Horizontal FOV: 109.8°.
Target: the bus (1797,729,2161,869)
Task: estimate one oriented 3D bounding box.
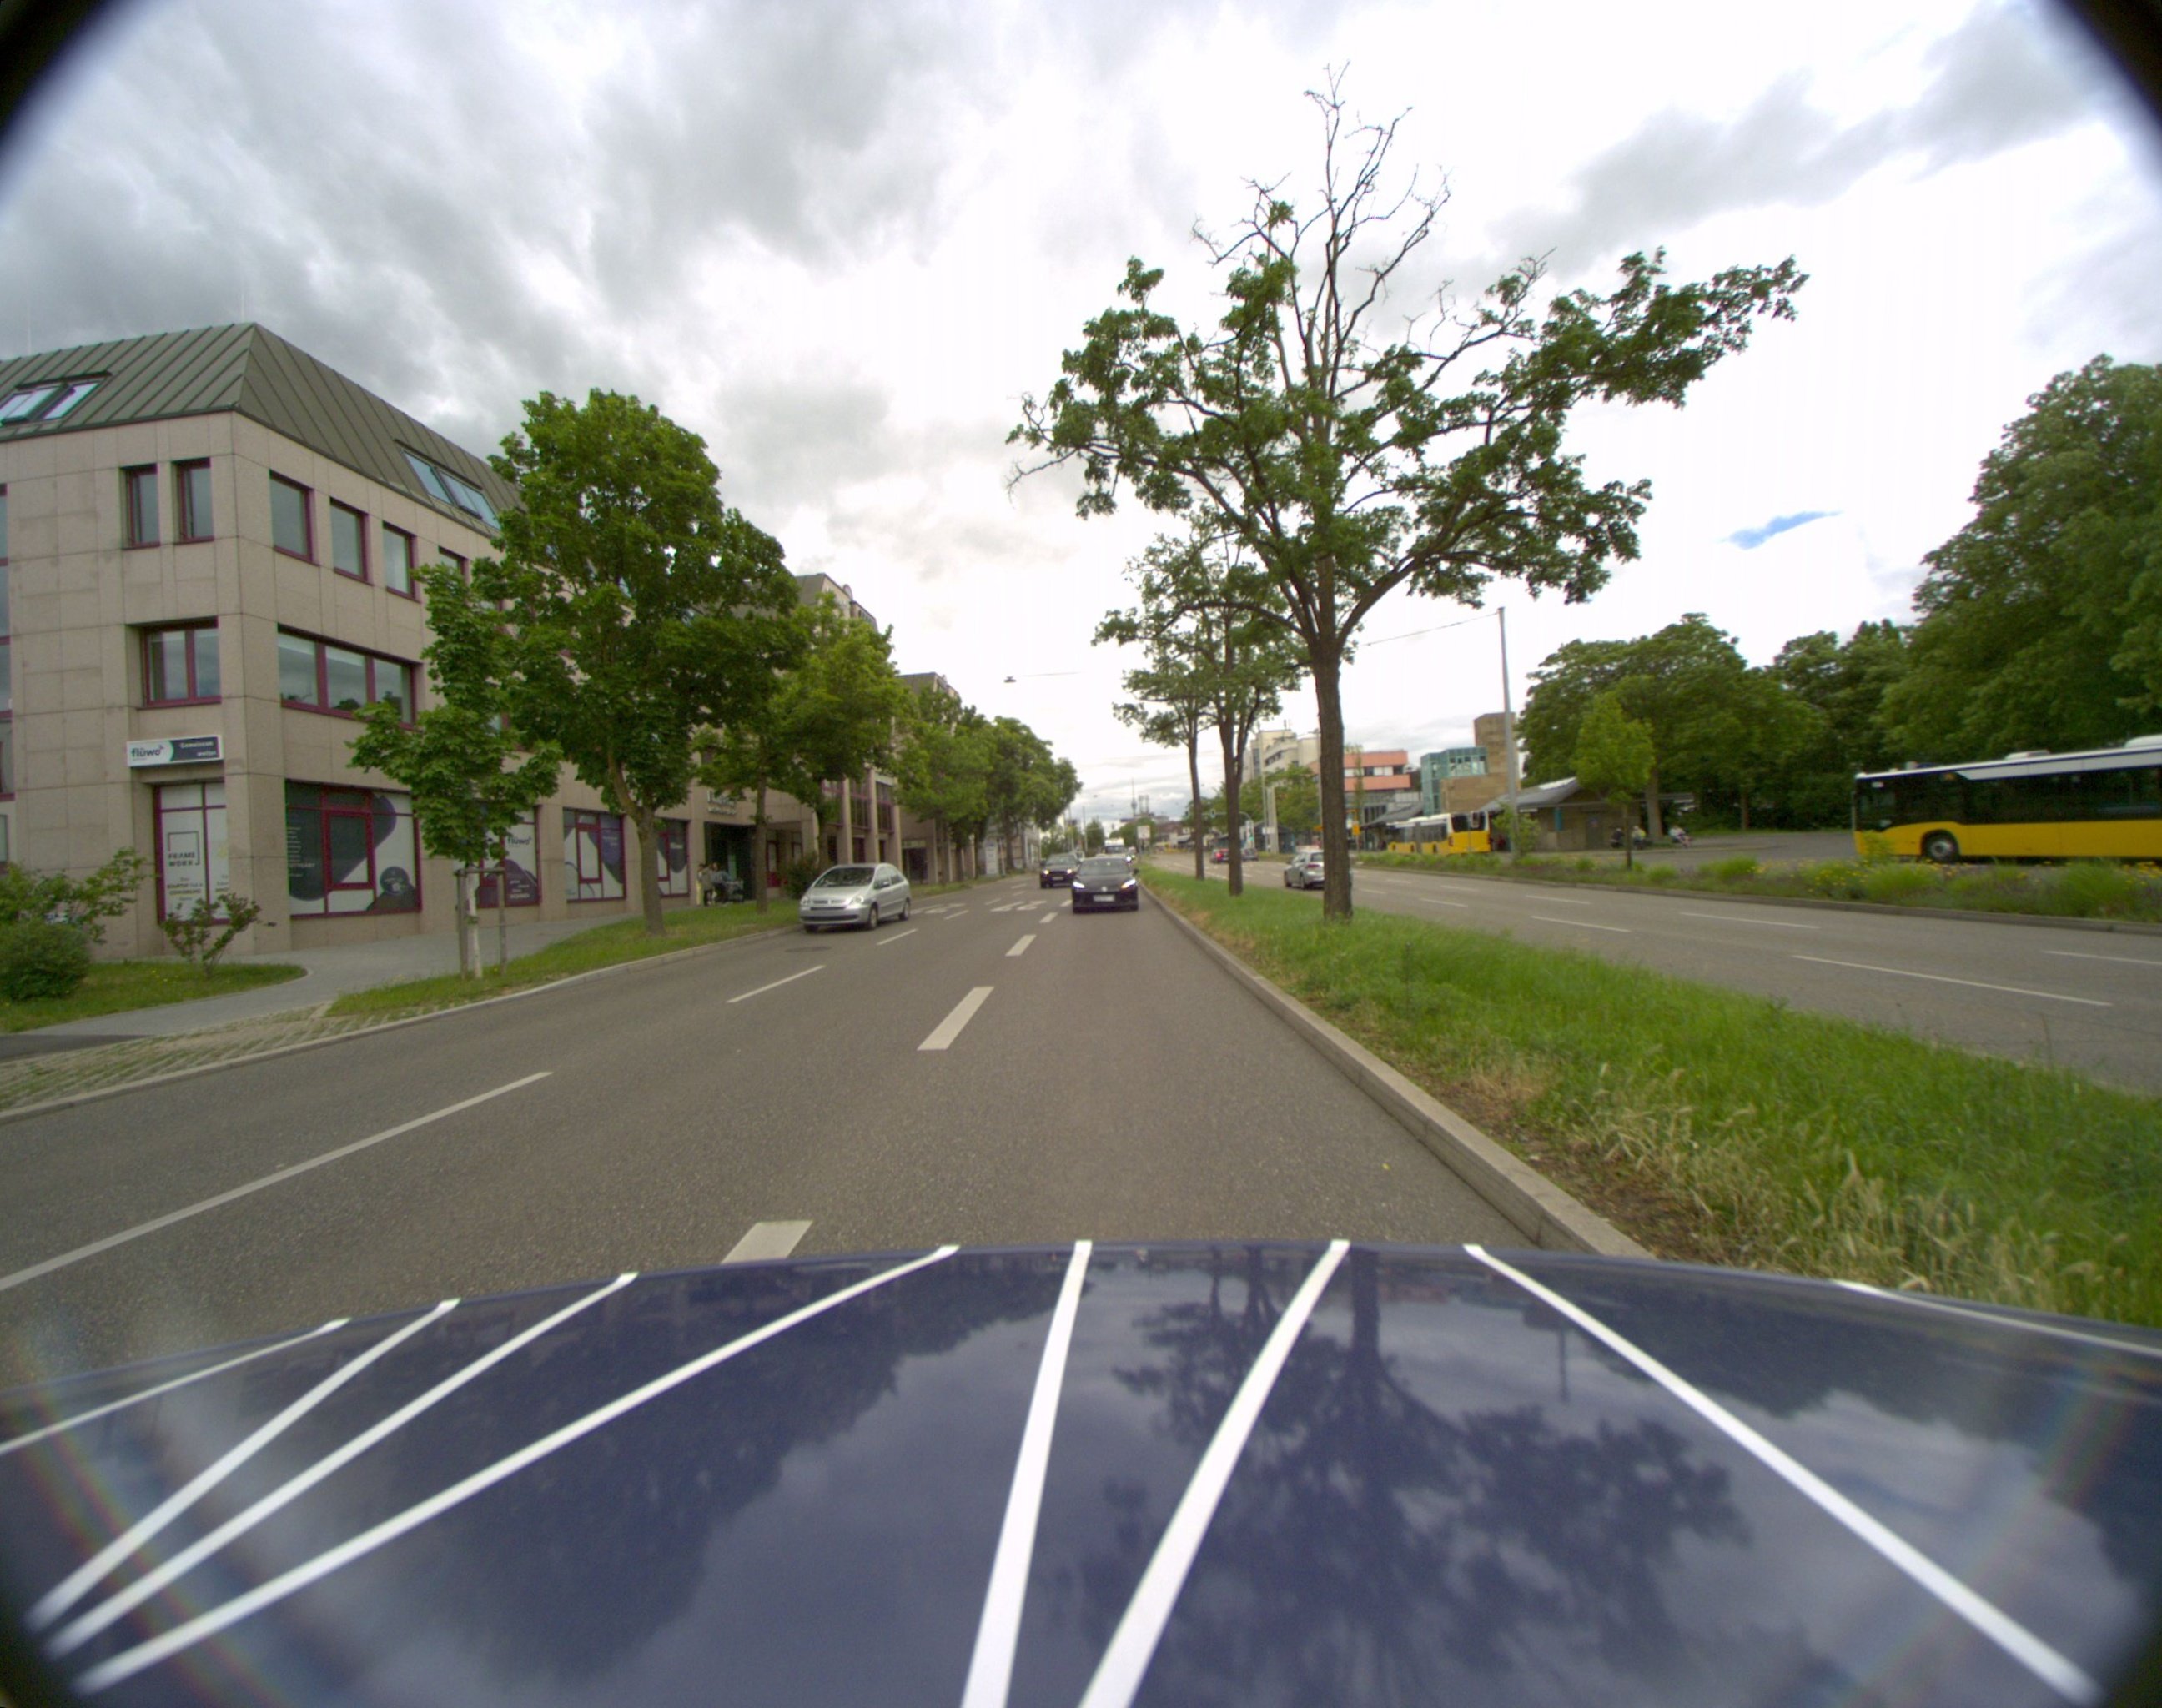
[{"bbox_3d":[26.168,-1.398,21.028,3.090,3.144,10.741,-6,0,5],"label":"bus"}]

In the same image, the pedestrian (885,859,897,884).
[{"bbox_3d":[-11.693,1.088,46.817,0.562,1.541,0.544,-1,1,6],"label":"pedestrian"}]

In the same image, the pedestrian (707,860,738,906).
[{"bbox_3d":[-13.115,1.040,27.831,0.556,1.643,0.962,-1,1,7],"label":"pedestrian"}]

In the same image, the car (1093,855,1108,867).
[{"bbox_3d":[2.716,0.973,105.905,1.895,1.531,4.048,-2,0,3],"label":"car"}]

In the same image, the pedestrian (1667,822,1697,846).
[{"bbox_3d":[31.941,-1.059,40.370,0.895,1.247,0.858,-3,1,3],"label":"pedestrian"}]

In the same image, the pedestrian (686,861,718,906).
[{"bbox_3d":[-14.735,1.139,29.588,0.596,1.695,0.970,-3,1,6],"label":"pedestrian"}]

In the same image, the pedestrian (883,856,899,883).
[{"bbox_3d":[-12.152,0.998,48.607,0.659,1.681,0.843,-1,1,6],"label":"pedestrian"}]

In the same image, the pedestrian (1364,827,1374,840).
[{"bbox_3d":[34.337,-2.444,90.477,0.990,1.452,0.592,-3,1,18],"label":"pedestrian"}]

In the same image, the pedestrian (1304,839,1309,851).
[{"bbox_3d":[31.709,-1.269,106.706,0.529,1.539,0.754,-3,1,18],"label":"pedestrian"}]

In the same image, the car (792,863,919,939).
[{"bbox_3d":[-5.597,1.097,19.440,1.763,1.625,4.156,-2,0,3],"label":"car"}]

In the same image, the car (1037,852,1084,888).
[{"bbox_3d":[-0.975,0.802,39.934,2.150,1.630,5.095,-4,0,1],"label":"car"}]

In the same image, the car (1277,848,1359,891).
[{"bbox_3d":[8.738,0.552,28.404,1.757,1.436,4.134,-1,0,0],"label":"car"}]

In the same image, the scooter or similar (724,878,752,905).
[{"bbox_3d":[-12.968,1.414,28.737,0.585,0.988,0.847,-1,1,7],"label":"scooter or similar"}]

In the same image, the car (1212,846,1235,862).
[{"bbox_3d":[14.747,-0.028,78.758,1.662,1.499,3.769,-3,1,2],"label":"car"}]

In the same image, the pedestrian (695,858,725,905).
[{"bbox_3d":[-13.787,1.024,28.281,0.568,1.690,0.829,-3,1,6],"label":"pedestrian"}]

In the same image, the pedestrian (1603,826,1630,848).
[{"bbox_3d":[30.562,-0.967,43.364,0.859,1.247,0.894,-3,1,-26],"label":"pedestrian"}]

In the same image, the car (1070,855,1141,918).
[{"bbox_3d":[0.734,0.847,21.512,1.763,1.531,4.048,-2,0,3],"label":"car"}]

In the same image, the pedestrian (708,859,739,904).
[{"bbox_3d":[-13.990,1.082,29.757,0.596,1.695,0.970,-3,1,6],"label":"pedestrian"}]

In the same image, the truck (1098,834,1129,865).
[{"bbox_3d":[3.622,-0.498,85.348,3.118,3.209,6.524,-3,0,1],"label":"truck"}]

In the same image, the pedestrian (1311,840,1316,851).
[{"bbox_3d":[32.595,-1.243,106.566,0.485,1.539,0.383,-3,1,-6],"label":"pedestrian"}]

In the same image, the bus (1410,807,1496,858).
[{"bbox_3d":[26.098,-1.431,53.835,2.814,3.113,9.306,-5,0,10],"label":"bus"}]

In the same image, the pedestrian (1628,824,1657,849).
[{"bbox_3d":[30.360,-0.965,41.094,0.859,1.283,0.894,-3,1,-22],"label":"pedestrian"}]

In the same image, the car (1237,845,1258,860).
[{"bbox_3d":[18.587,-0.181,84.731,1.819,1.499,4.001,-3,1,6],"label":"car"}]

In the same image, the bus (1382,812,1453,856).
[{"bbox_3d":[27.631,-1.553,62.893,2.781,3.113,9.444,-5,0,9],"label":"bus"}]
